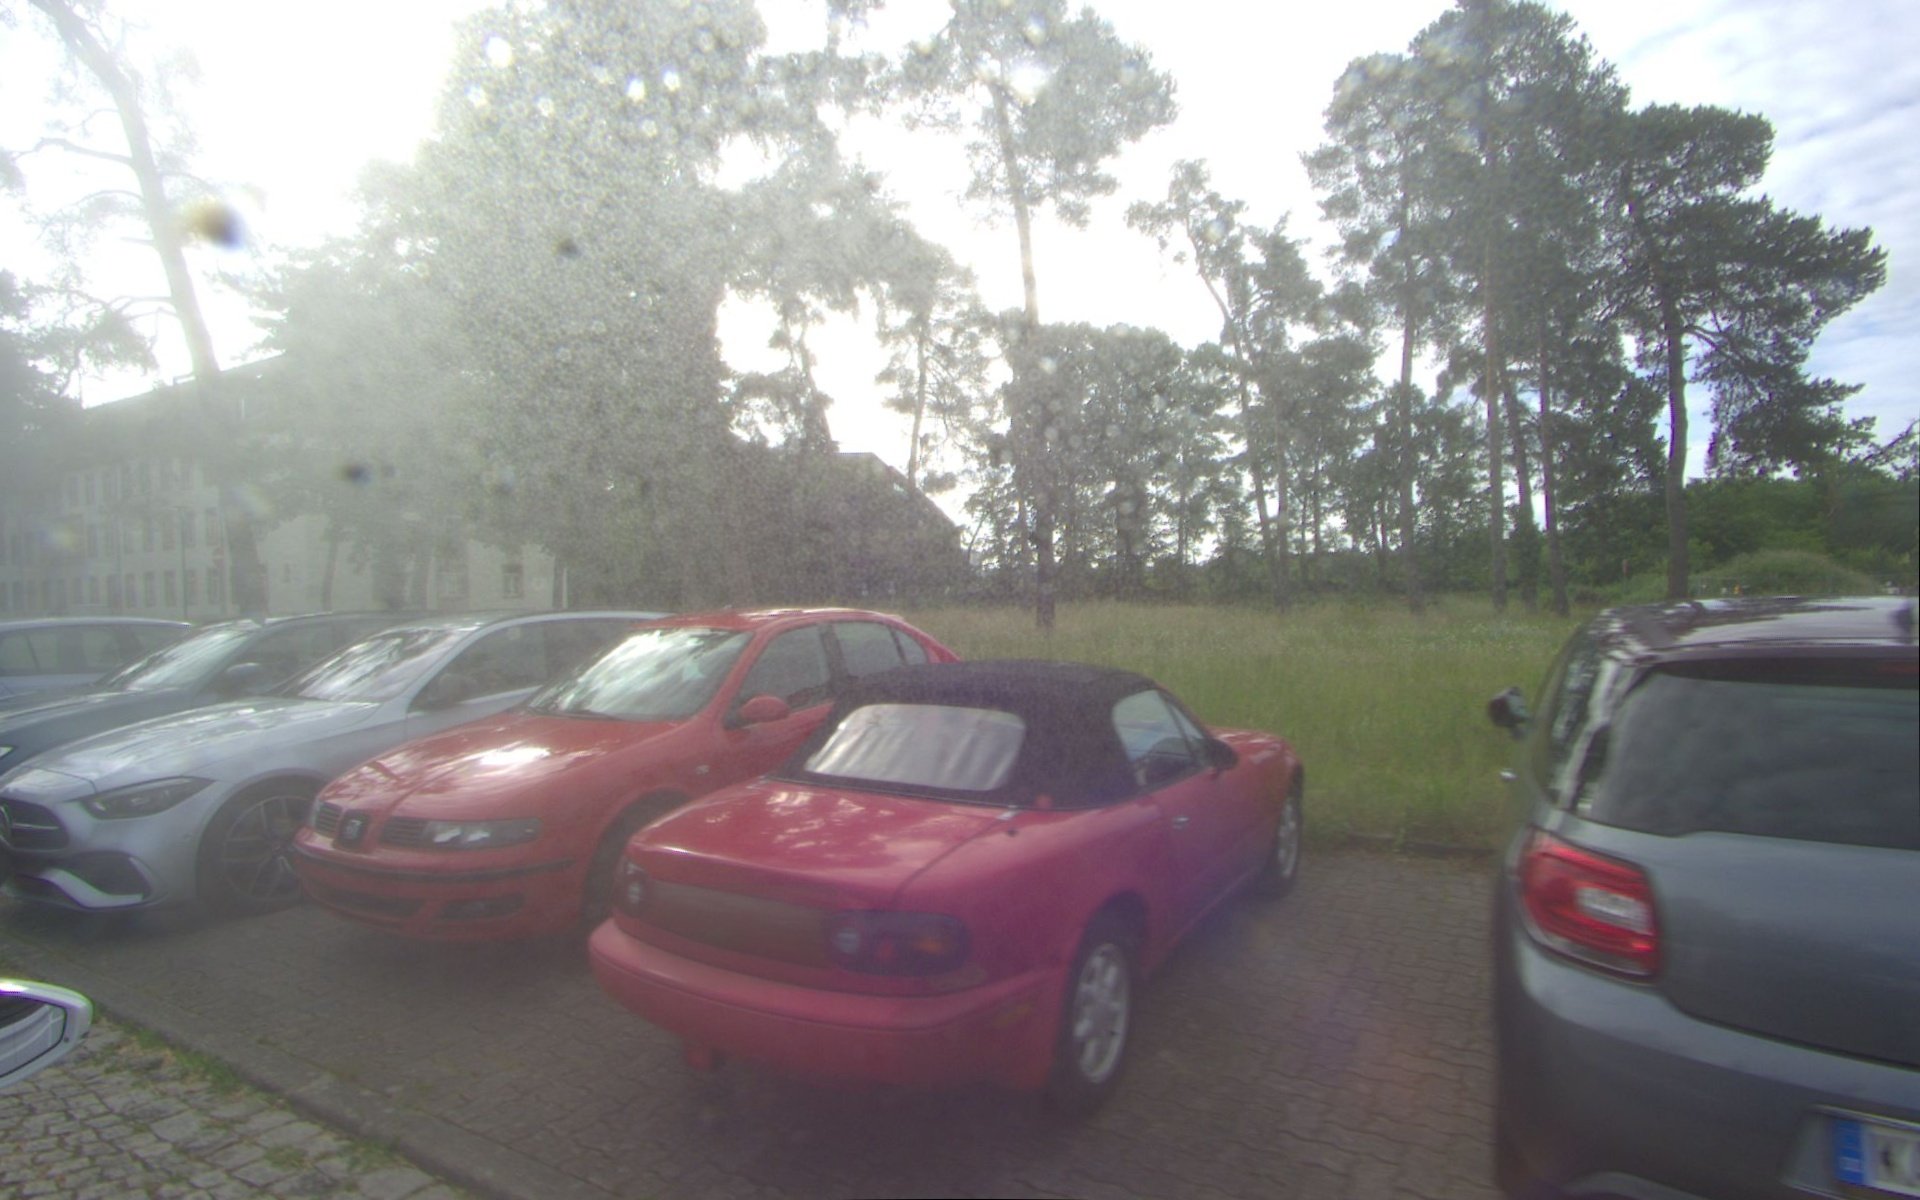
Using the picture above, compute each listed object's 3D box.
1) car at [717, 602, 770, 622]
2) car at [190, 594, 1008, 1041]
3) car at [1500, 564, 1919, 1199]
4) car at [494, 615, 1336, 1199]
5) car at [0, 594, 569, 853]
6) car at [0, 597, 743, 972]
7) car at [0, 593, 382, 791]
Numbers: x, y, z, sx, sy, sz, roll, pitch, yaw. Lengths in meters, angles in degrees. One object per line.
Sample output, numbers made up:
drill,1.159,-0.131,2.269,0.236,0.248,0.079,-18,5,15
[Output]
car,-16.558,0.954,76.704,1.627,1.439,3.940,-1,-2,33
car,-1.537,0.772,5.831,1.843,1.436,4.253,-1,2,30
car,2.704,0.670,3.109,1.732,1.492,3.855,-1,2,30
car,0.344,0.794,4.204,1.732,1.253,3.855,-1,2,30
car,-5.789,0.764,8.231,1.842,1.436,4.673,-1,2,28
car,-3.574,0.795,6.632,1.841,1.436,4.419,-1,2,25
car,-7.893,0.762,9.420,1.619,1.497,3.916,0,2,32
